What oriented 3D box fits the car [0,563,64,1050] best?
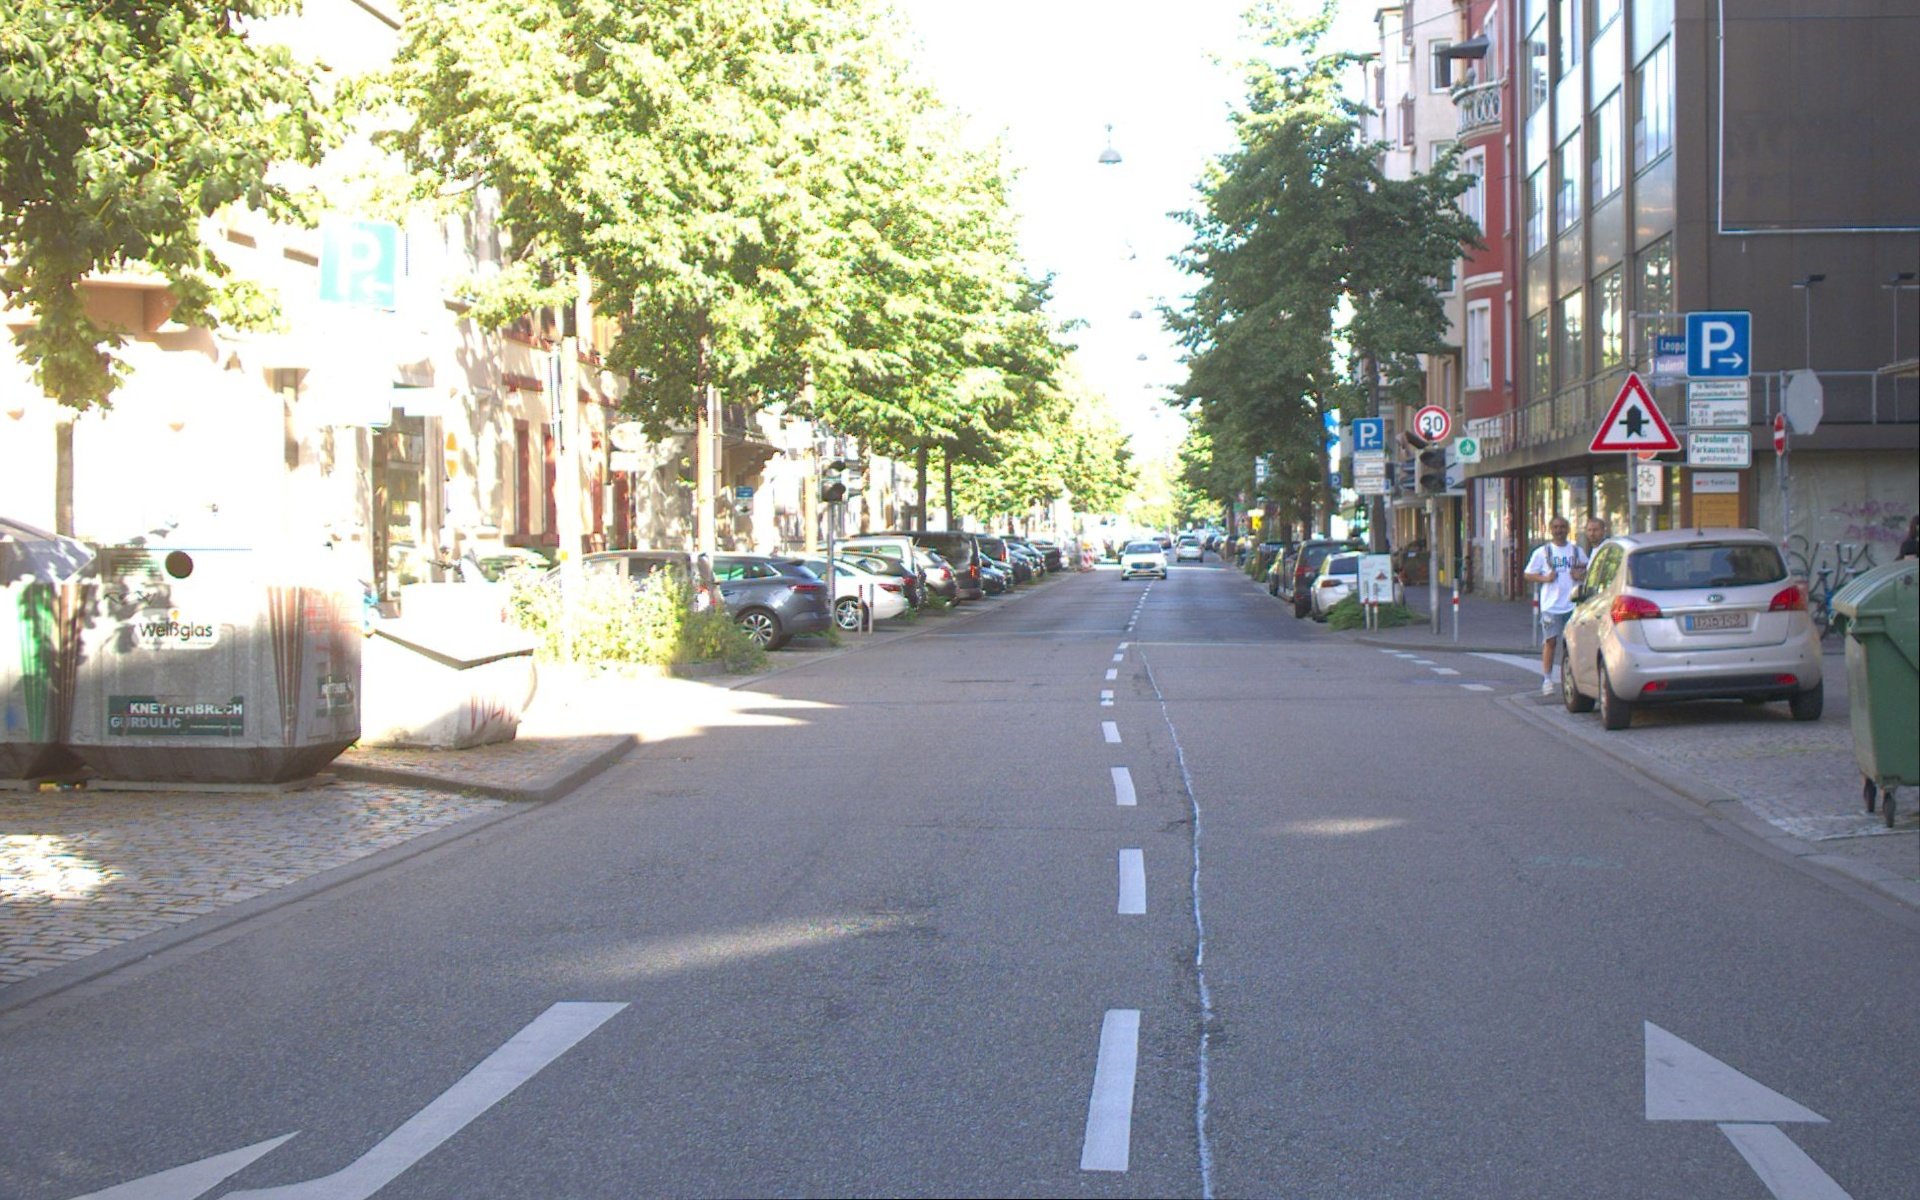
[{"bbox_3d":[-5.020,0.570,10.390,4.220,1.472,1.736,1,0,-24],"label":"car"}]

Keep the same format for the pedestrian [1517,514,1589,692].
[{"bbox_3d":[5.833,0.031,33.855,0.614,1.729,0.634,1,0,5],"label":"pedestrian"}]

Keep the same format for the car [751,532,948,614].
[{"bbox_3d":[-2.359,-0.587,74.003,3.987,1.668,2.089,1,0,5],"label":"car"}]

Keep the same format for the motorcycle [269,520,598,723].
[{"bbox_3d":[-4.298,0.175,28.058,2.475,1.599,0.998,-1,1,22],"label":"motorcycle"}]

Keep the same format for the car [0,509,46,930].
[{"bbox_3d":[-5.653,0.398,12.851,3.986,1.580,1.831,1,0,-28],"label":"car"}]

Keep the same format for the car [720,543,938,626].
[{"bbox_3d":[-2.509,-0.308,66.480,3.987,1.503,2.000,1,0,5],"label":"car"}]

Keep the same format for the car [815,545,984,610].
[{"bbox_3d":[-1.462,-0.561,84.794,3.987,1.503,2.000,1,0,4],"label":"car"}]

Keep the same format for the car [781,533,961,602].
[{"bbox_3d":[-2.056,-0.757,80.202,3.987,1.503,1.894,1,0,5],"label":"car"}]

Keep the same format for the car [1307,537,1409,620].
[{"bbox_3d":[8.176,-0.438,70.876,1.994,1.612,4.009,1,0,6],"label":"car"}]

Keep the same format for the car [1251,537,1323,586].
[{"bbox_3d":[9.800,-1.165,103.182,1.994,1.448,4.000,0,1,3],"label":"car"}]

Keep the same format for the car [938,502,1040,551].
[{"bbox_3d":[1.230,-3.122,146.214,3.989,2.007,1.999,1,1,14],"label":"car"}]

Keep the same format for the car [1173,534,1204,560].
[{"bbox_3d":[14.287,-3.289,214.821,1.870,1.550,3.999,1,0,4],"label":"car"}]

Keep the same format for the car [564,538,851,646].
[{"bbox_3d":[-3.745,-0.126,51.470,3.987,1.503,2.000,1,0,5],"label":"car"}]

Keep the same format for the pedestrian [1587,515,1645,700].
[{"bbox_3d":[6.373,0.074,33.395,0.512,1.774,0.612,1,0,11],"label":"pedestrian"}]

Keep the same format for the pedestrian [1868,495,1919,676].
[{"bbox_3d":[9.851,-0.148,35.740,0.646,1.865,0.626,1,0,26],"label":"pedestrian"}]

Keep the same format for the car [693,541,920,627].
[{"bbox_3d":[-2.832,-0.303,64.192,3.987,1.503,2.000,1,0,5],"label":"car"}]

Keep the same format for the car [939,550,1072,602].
[{"bbox_3d":[1.470,-0.759,109.936,3.988,1.503,1.999,2,0,7],"label":"car"}]

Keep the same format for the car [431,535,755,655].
[{"bbox_3d":[-4.882,-0.073,46.076,3.987,1.503,2.000,1,0,5],"label":"car"}]

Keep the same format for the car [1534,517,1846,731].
[{"bbox_3d":[6.207,0.186,29.747,1.899,1.669,4.824,1,0,3],"label":"car"}]

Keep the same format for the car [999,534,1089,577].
[{"bbox_3d":[4.073,-2.159,166.465,3.989,2.007,1.999,1,1,14],"label":"car"}]

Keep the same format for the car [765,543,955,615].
[{"bbox_3d":[-2.196,-0.468,76.280,3.987,1.503,2.000,1,0,5],"label":"car"}]

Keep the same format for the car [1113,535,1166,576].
[{"bbox_3d":[7.243,-1.785,138.198,1.994,1.550,3.999,1,0,4],"label":"car"}]

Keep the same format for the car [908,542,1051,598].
[{"bbox_3d":[0.607,-0.901,102.281,3.988,1.503,1.999,2,0,7],"label":"car"}]

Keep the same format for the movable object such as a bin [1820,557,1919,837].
[{"bbox_3d":[5.462,0.503,19.201,1.074,1.452,1.492,-3,1,9],"label":"movable object such as a bin"}]
